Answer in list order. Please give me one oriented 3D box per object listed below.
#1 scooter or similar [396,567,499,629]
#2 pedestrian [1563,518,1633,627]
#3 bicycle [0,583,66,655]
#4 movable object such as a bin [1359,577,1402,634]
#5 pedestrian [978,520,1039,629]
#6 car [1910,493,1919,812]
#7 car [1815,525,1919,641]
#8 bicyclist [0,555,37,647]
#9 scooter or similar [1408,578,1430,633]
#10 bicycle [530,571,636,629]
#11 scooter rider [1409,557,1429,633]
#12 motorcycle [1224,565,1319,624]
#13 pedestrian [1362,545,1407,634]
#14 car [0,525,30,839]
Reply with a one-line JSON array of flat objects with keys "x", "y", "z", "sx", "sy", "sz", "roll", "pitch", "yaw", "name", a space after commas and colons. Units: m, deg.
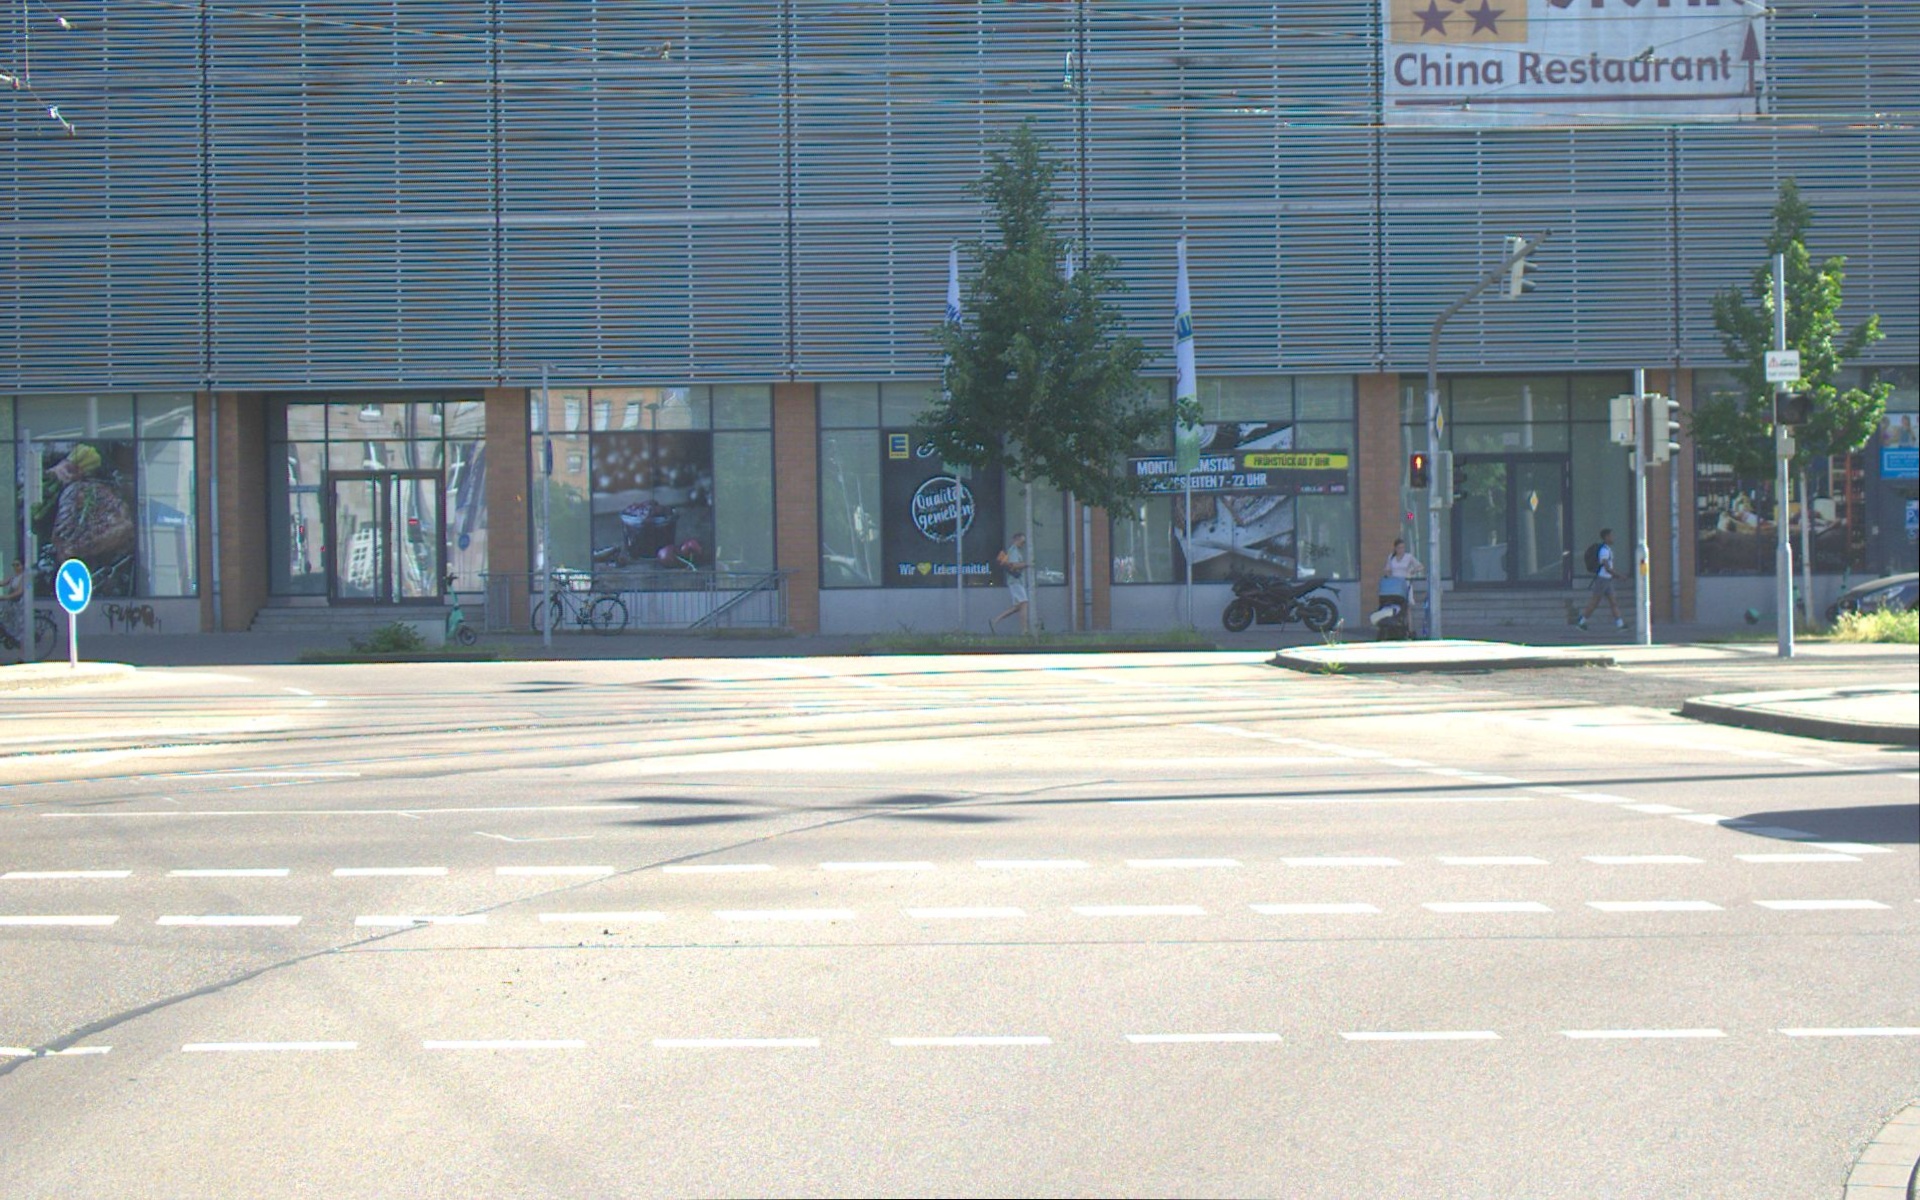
[{"x": -9.076, "y": -0.038, "z": 60.932, "sx": 1.792, "sy": 1.062, "sz": 0.613, "roll": 0, "pitch": 2, "yaw": -8, "name": "scooter or similar"}, {"x": 10.988, "y": -0.479, "z": 59.274, "sx": 1.012, "sy": 1.822, "sz": 1.035, "roll": -2, "pitch": 1, "yaw": 3, "name": "pedestrian"}, {"x": -15.244, "y": 0.318, "z": 54.868, "sx": 0.568, "sy": 1.082, "sz": 1.859, "roll": 1, "pitch": 3, "yaw": 43, "name": "bicycle"}, {"x": 6.714, "y": 0.085, "z": 54.814, "sx": 0.613, "sy": 0.901, "sz": 0.968, "roll": 1, "pitch": 0, "yaw": 10, "name": "movable object such as a bin"}, {"x": 0.844, "y": -0.433, "z": 59.755, "sx": 0.950, "sy": 1.822, "sz": 0.845, "roll": -2, "pitch": -3, "yaw": 5, "name": "pedestrian"}, {"x": 7.560, "y": 0.252, "z": 17.857, "sx": 4.667, "sy": 1.701, "sz": 1.938, "roll": -1, "pitch": 1, "yaw": -11, "name": "car"}, {"x": 13.755, "y": -0.138, "z": 45.852, "sx": 4.146, "sy": 1.464, "sz": 1.841, "roll": 3, "pitch": 0, "yaw": -1, "name": "car"}, {"x": -15.277, "y": 0.009, "z": 54.788, "sx": 0.675, "sy": 1.422, "sz": 0.847, "roll": 1, "pitch": 3, "yaw": 43, "name": "bicyclist"}, {"x": 7.353, "y": 0.082, "z": 55.097, "sx": 0.295, "sy": 0.870, "sz": 1.003, "roll": 1, "pitch": 0, "yaw": 10, "name": "scooter or similar"}, {"x": -6.647, "y": -0.009, "z": 60.549, "sx": 1.815, "sy": 0.986, "sz": 0.558, "roll": -1, "pitch": 2, "yaw": -10, "name": "bicycle"}, {"x": 7.346, "y": -0.081, "z": 55.035, "sx": 0.288, "sy": 1.196, "sz": 0.385, "roll": 1, "pitch": 0, "yaw": 10, "name": "scooter rider"}, {"x": 5.496, "y": -0.094, "z": 60.642, "sx": 1.640, "sy": 1.001, "sz": 0.446, "roll": 1, "pitch": 1, "yaw": 6, "name": "motorcycle"}, {"x": 6.833, "y": -0.170, "z": 55.275, "sx": 0.655, "sy": 1.409, "sz": 0.849, "roll": 1, "pitch": 0, "yaw": 10, "name": "pedestrian"}, {"x": -6.782, "y": 0.401, "z": 15.543, "sx": 4.668, "sy": 1.457, "sz": 1.834, "roll": 0, "pitch": 1, "yaw": -2, "name": "car"}]
